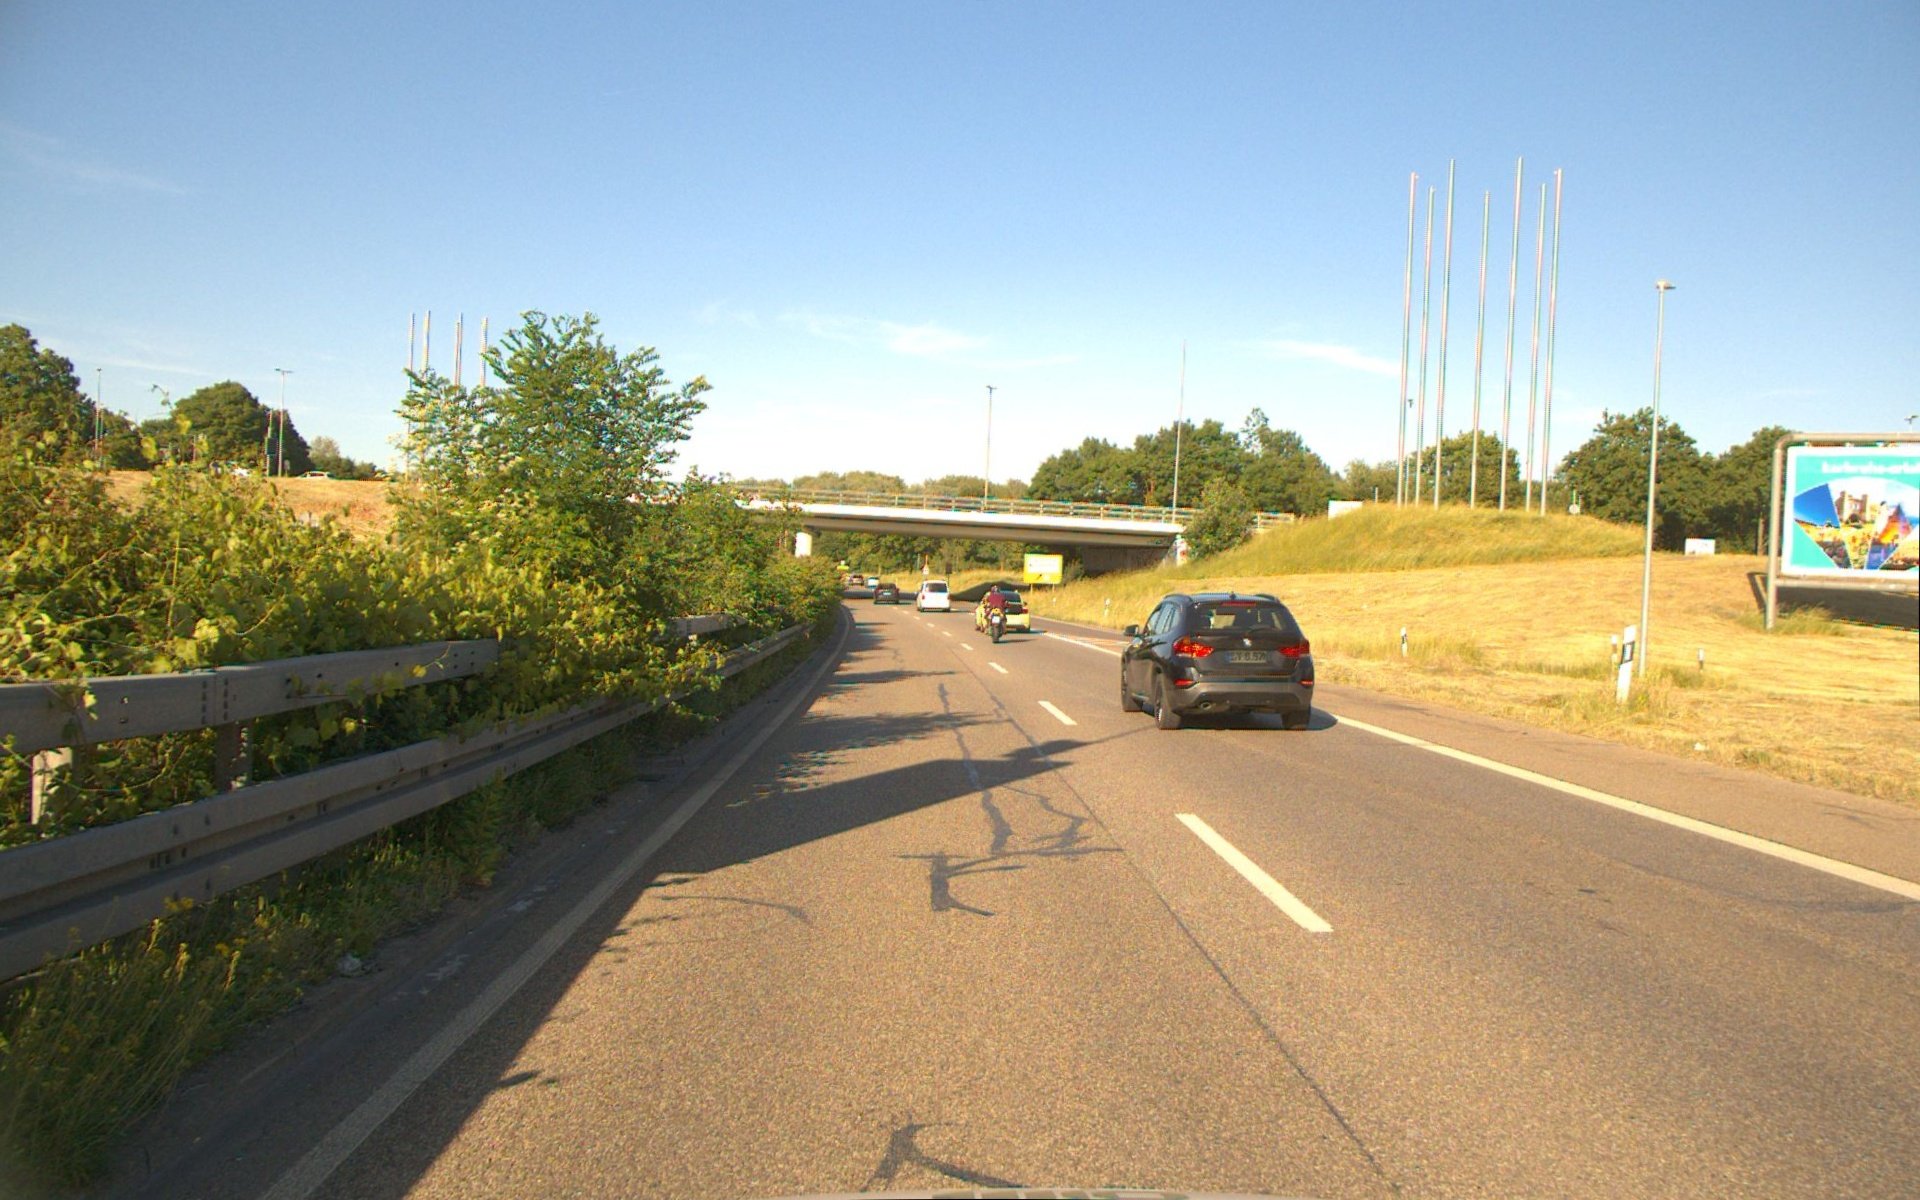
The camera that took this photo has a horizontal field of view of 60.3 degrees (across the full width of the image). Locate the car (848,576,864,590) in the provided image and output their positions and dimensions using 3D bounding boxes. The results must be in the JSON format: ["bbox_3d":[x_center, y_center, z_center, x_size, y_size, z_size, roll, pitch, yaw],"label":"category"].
[{"bbox_3d":[-13.575,-2.164,215.823,1.832,1.714,3.996,2,0,-5],"label":"car"}]

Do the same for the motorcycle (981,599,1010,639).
[{"bbox_3d":[1.043,0.544,48.912,0.800,1.088,2.836,1,1,0],"label":"motorcycle"}]

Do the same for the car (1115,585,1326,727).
[{"bbox_3d":[3.052,0.645,20.287,1.665,1.532,4.576,1,-1,-3],"label":"car"}]

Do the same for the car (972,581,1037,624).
[{"bbox_3d":[1.597,0.064,60.400,1.860,1.496,3.995,1,1,-6],"label":"car"}]

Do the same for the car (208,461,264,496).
[{"bbox_3d":[-64.157,-10.760,146.566,4.219,2.854,2.082,2,1,18],"label":"car"}]

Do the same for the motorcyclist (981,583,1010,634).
[{"bbox_3d":[1.047,0.241,48.973,0.800,1.472,1.094,1,1,0],"label":"motorcyclist"}]

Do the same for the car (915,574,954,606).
[{"bbox_3d":[-1.499,-0.570,95.428,1.861,1.798,3.995,0,1,-6],"label":"car"}]

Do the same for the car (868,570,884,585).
[{"bbox_3d":[-10.085,-2.680,198.145,1.832,1.714,3.997,3,0,-4],"label":"car"}]

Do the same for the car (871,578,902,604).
[{"bbox_3d":[-5.192,-0.644,116.318,1.861,1.797,3.995,1,1,-6],"label":"car"}]
